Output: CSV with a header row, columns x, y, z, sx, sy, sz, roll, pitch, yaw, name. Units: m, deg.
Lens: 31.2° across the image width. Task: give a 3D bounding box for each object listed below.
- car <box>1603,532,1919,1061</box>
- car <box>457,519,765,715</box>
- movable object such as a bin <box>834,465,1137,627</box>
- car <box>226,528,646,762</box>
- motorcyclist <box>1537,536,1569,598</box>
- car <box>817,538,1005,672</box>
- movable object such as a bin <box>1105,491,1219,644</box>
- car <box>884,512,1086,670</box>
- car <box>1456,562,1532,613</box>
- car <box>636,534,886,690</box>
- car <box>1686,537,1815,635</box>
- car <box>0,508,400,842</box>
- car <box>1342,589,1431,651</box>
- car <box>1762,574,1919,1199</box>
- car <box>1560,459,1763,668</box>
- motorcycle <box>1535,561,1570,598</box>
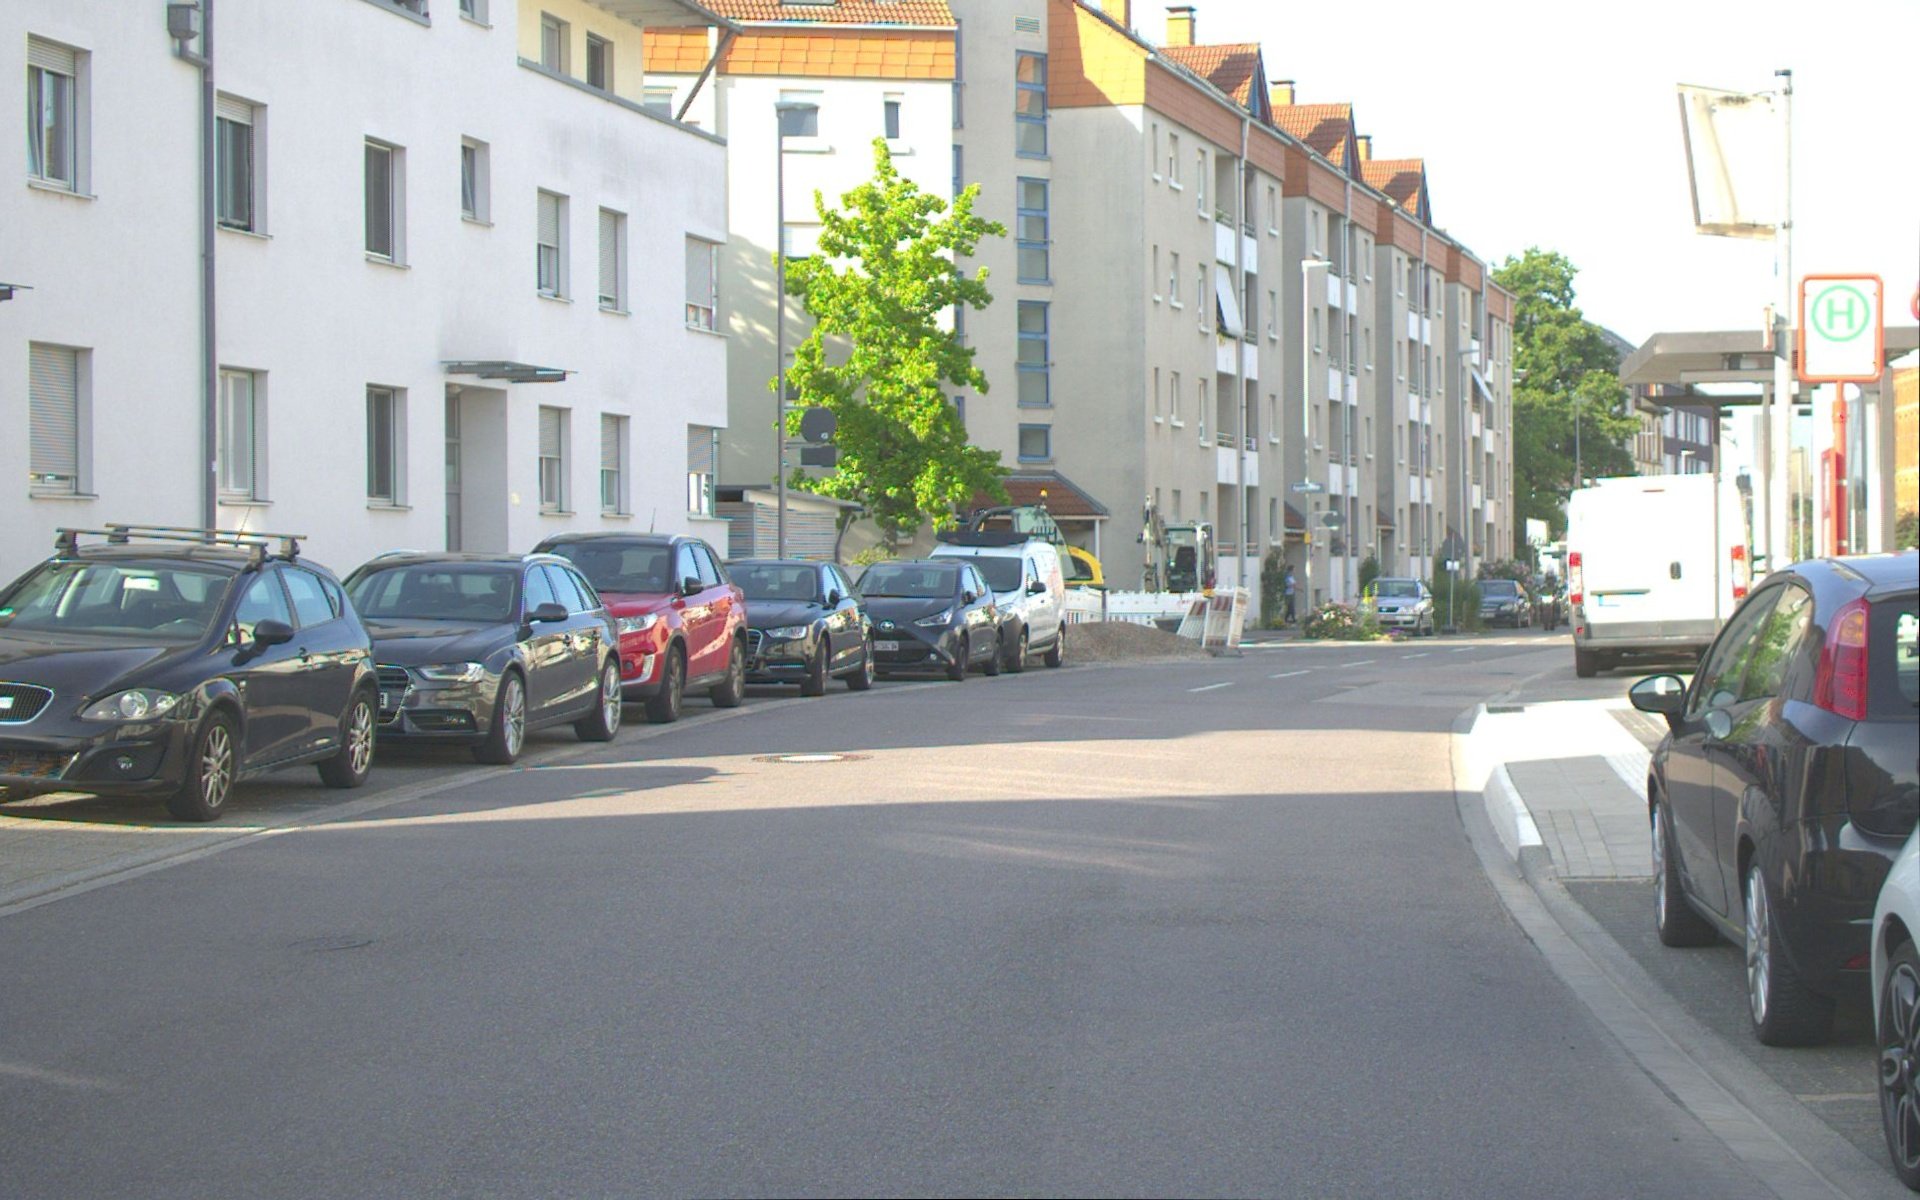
x,y,z,sx,sy,sz,roll,pitch,yaw,name
3.219,0.499,11.442,1.608,1.416,3.919,-3,1,4,car
-3.019,0.095,30.618,1.728,1.616,4.262,0,1,9,car
0.490,-1.011,63.913,5.497,2.890,2.112,1,1,1,movable object such as a bin
-3.693,0.251,25.056,1.728,1.473,4.501,3,2,8,car
16.039,-0.892,92.915,0.769,1.646,0.843,1,1,14,motorcyclist
-0.558,0.025,41.799,1.494,1.460,3.512,4,2,11,car
4.324,-0.720,73.018,1.649,3.127,3.898,1,2,14,movable object such as a bin
0.395,-0.154,46.840,1.728,1.954,4.436,3,2,13,car
15.458,-0.368,99.415,1.687,1.401,4.081,1,1,15,car
-2.010,0.078,35.905,1.728,1.473,4.262,2,1,8,car
15.968,-0.310,69.298,2.077,1.849,4.606,-1,0,18,car
-4.736,0.330,19.629,1.776,1.616,4.176,3,2,8,car
10.217,0.464,82.236,1.641,1.391,3.669,-1,0,14,car
2.979,0.686,7.022,1.715,1.393,4.334,1,1,1,car
8.554,-0.446,41.611,2.176,2.319,4.994,-1,0,13,car
16.025,-0.560,92.919,0.769,0.981,2.198,1,1,14,motorcycle
